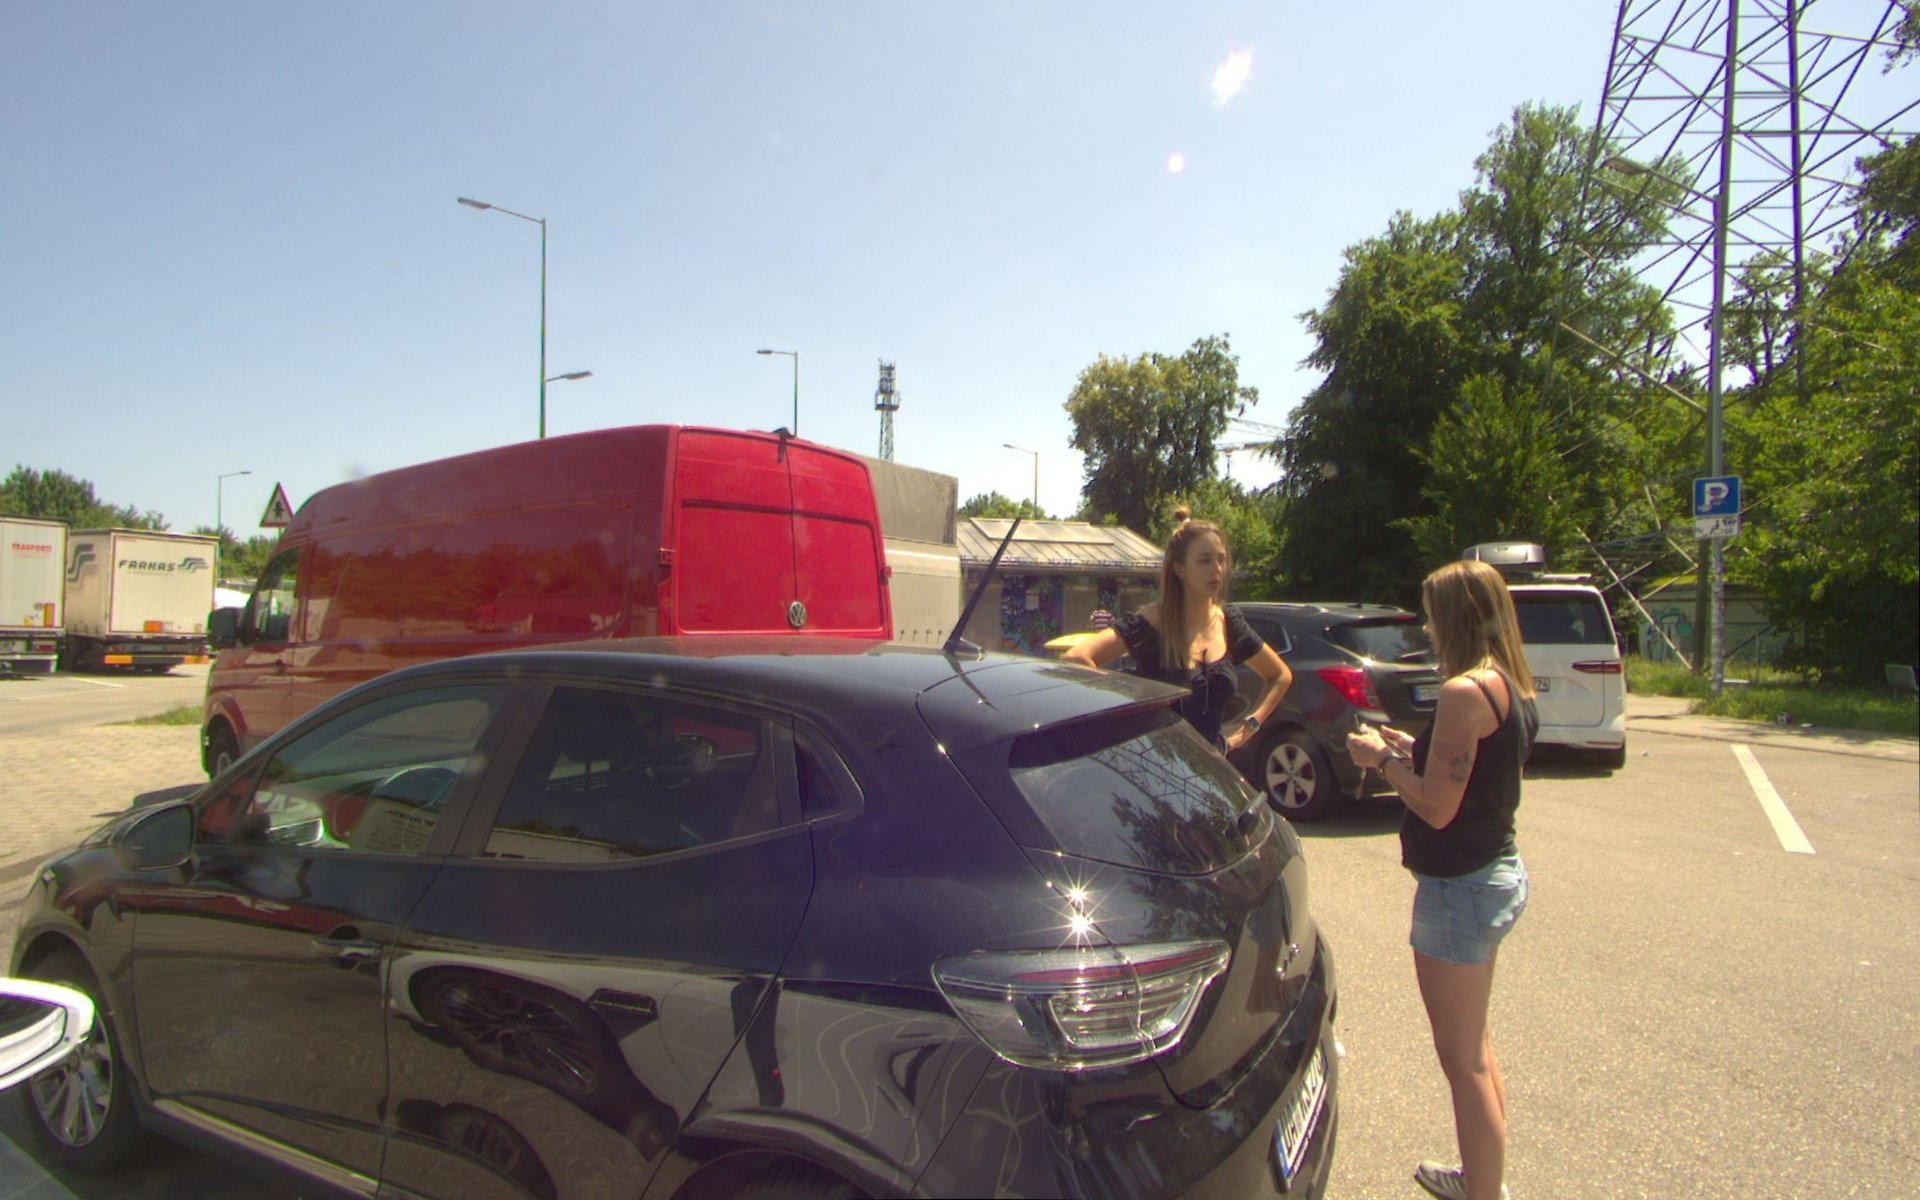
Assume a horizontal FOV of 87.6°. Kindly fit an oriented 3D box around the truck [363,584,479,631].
[{"bbox_3d":[-34.703,0.446,64.262,9.637,2.857,2.121,0,-1,33],"label":"truck"}]

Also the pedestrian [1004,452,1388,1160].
[{"bbox_3d":[0.730,0.566,3.226,0.902,1.896,0.771,1,0,-25],"label":"pedestrian"}]

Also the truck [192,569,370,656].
[{"bbox_3d":[-31.673,0.491,46.460,11.255,3.615,2.483,2,-1,33],"label":"truck"}]

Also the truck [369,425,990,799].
[{"bbox_3d":[-3.242,0.122,10.542,6.874,2.828,2.460,0,-1,35],"label":"truck"}]

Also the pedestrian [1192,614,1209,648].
[{"bbox_3d":[11.104,1.426,46.187,0.577,1.536,0.592,1,0,-10],"label":"pedestrian"}]

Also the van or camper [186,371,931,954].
[{"bbox_3d":[-3.347,0.314,7.336,6.394,2.688,1.990,0,-1,36],"label":"van or camper"}]

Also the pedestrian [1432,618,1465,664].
[{"bbox_3d":[14.884,1.240,30.505,0.695,1.392,0.607,1,0,-3],"label":"pedestrian"}]

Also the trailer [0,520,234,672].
[{"bbox_3d":[-27.275,-0.211,31.448,12.255,4.090,2.862,2,-1,33],"label":"trailer"}]

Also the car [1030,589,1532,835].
[{"bbox_3d":[2.558,0.790,8.902,1.825,1.644,4.025,1,-1,-33],"label":"car"}]

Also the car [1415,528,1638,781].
[{"bbox_3d":[6.558,0.553,11.542,1.892,2.354,4.074,-1,-1,32],"label":"car"}]

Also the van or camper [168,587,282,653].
[{"bbox_3d":[-30.392,0.806,41.370,5.296,2.595,2.100,0,-1,34],"label":"van or camper"}]

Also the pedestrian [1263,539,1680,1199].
[{"bbox_3d":[1.229,0.692,2.463,0.644,1.606,0.646,1,0,-26],"label":"pedestrian"}]

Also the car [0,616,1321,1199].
[{"bbox_3d":[-1.041,0.826,2.829,3.706,1.503,1.615,0,-1,27],"label":"car"}]

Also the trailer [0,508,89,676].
[{"bbox_3d":[-28.336,-0.339,27.783,12.255,4.090,2.862,2,-1,33],"label":"trailer"}]

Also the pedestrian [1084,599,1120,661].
[{"bbox_3d":[3.838,0.811,27.087,0.742,1.629,0.765,1,0,-8],"label":"pedestrian"}]
